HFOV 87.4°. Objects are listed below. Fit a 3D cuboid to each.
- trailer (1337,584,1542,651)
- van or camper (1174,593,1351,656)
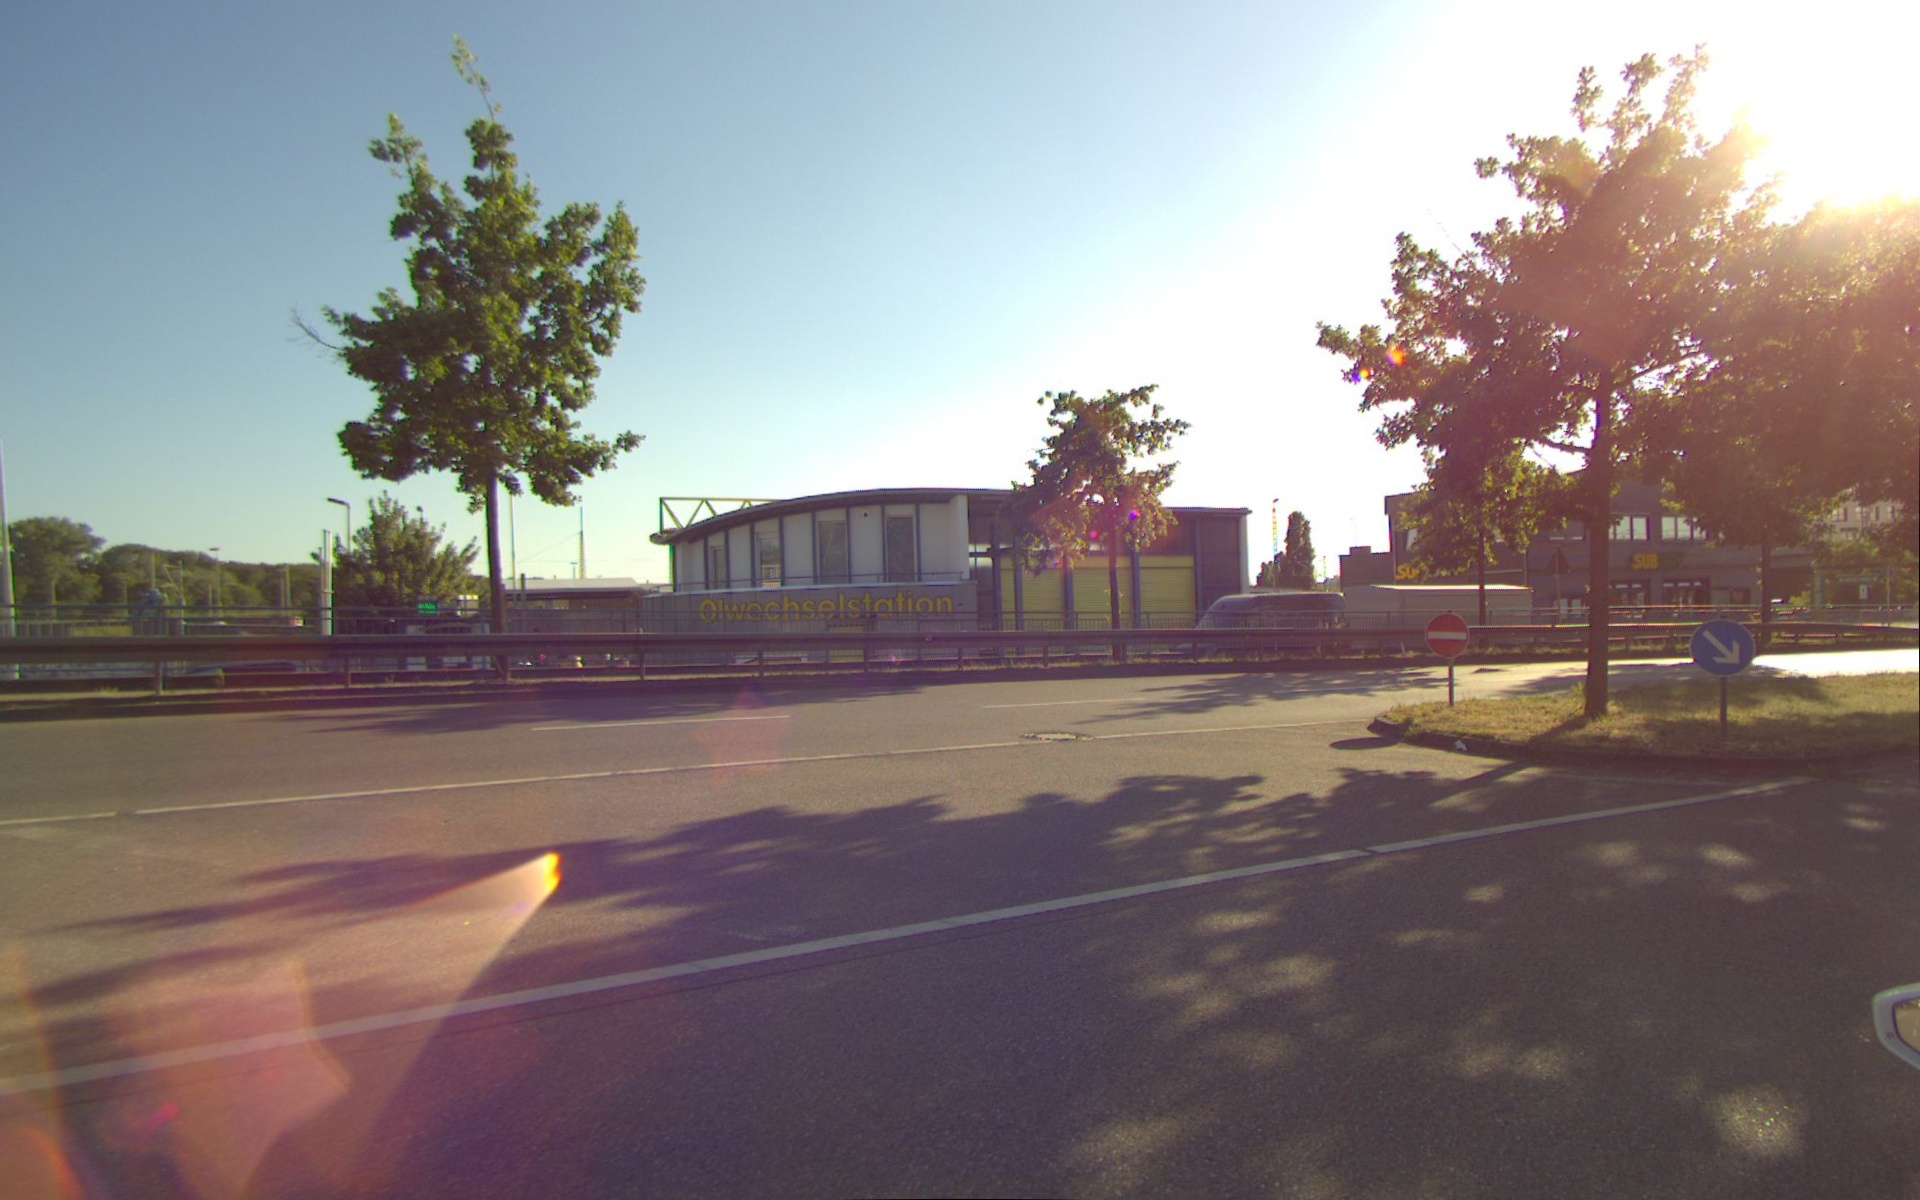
[{"bbox_3d":[15.576,0.548,32.567,6.515,1.996,2.412,0,-1,-25],"label":"trailer"},{"bbox_3d":[8.784,0.672,29.104,4.894,1.708,1.987,0,0,-26],"label":"van or camper"}]
